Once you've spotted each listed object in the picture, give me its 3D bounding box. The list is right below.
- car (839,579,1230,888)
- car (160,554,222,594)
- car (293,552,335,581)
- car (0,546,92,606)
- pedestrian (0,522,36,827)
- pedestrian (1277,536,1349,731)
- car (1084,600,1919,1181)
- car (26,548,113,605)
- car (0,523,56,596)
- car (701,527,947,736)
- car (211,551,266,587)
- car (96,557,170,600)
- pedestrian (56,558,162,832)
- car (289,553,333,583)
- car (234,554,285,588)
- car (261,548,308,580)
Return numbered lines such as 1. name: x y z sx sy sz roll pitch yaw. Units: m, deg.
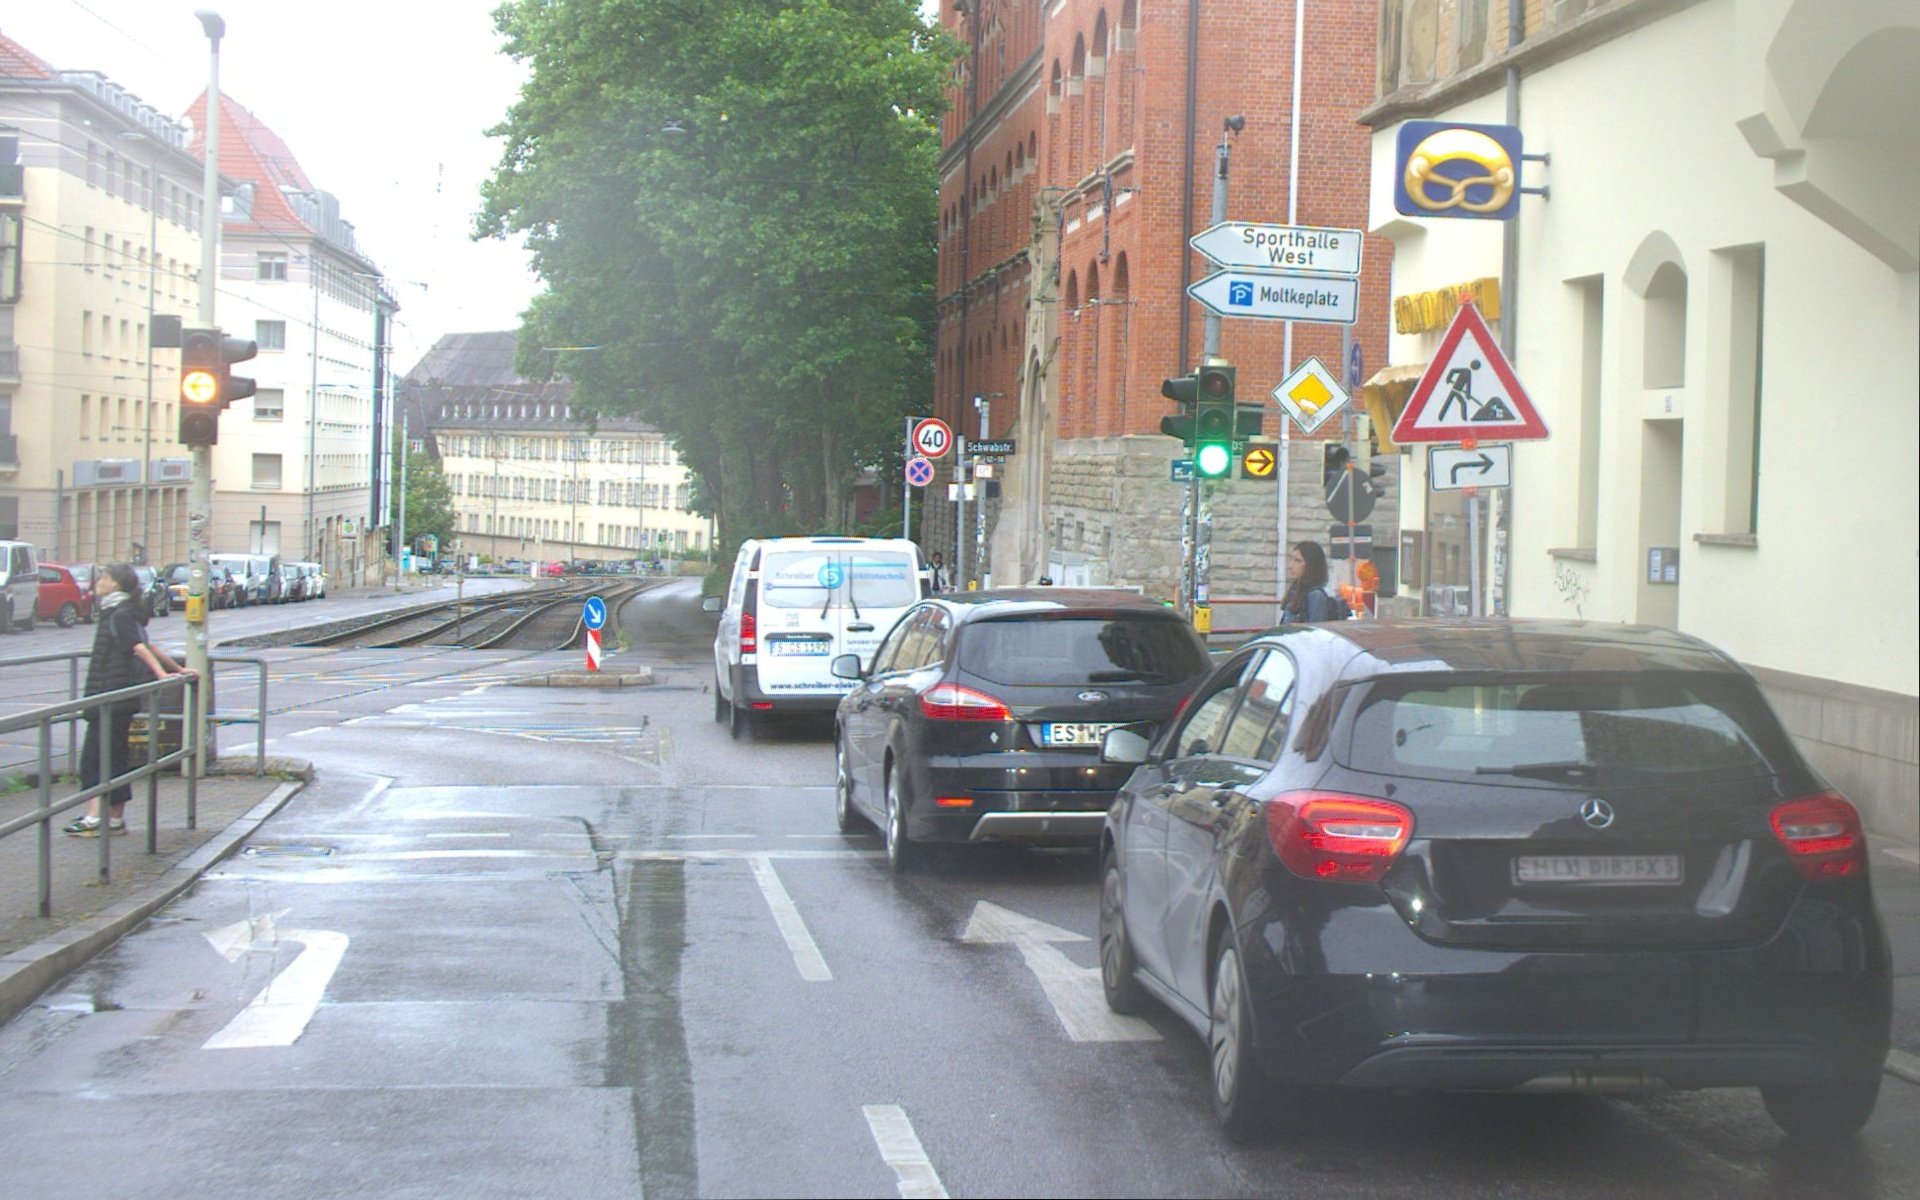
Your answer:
1. car: 0.295 0.648 19.030 1.713 1.464 4.281 2 0 -4
2. car: -23.733 -0.801 106.108 1.395 1.167 3.162 1 0 -4
3. car: -27.320 -1.421 145.497 1.395 1.167 3.162 1 0 -4
4. car: -21.446 -0.568 80.223 1.680 1.351 3.703 1 0 -4
5. pedestrian: -5.789 0.410 19.504 0.740 1.718 0.739 2 0 42
6. pedestrian: 2.326 0.215 22.655 0.412 1.266 0.292 2 0 1
7. car: 1.502 0.729 10.577 1.894 1.385 4.000 1 0 -3
8. car: -21.843 -0.580 84.444 1.499 1.351 3.162 1 0 -4
9. car: -20.749 -0.881 73.747 1.786 1.525 4.463 1 0 -4
10. car: -1.371 0.253 32.832 1.932 1.825 4.282 2 1 -7
11. car: -24.629 -1.050 117.361 1.395 1.167 3.162 1 0 -4
12. car: -22.364 -0.596 93.022 1.437 1.103 3.162 1 0 -4
13. pedestrian: -4.820 0.534 19.483 0.531 1.525 0.437 1 0 -12
14. car: -26.634 -1.318 141.045 1.395 1.167 3.162 1 0 -4
15. car: -25.267 -1.037 124.011 1.395 1.167 3.162 1 0 -4
16. car: -26.111 -1.399 132.987 1.395 1.167 3.162 1 0 -4
